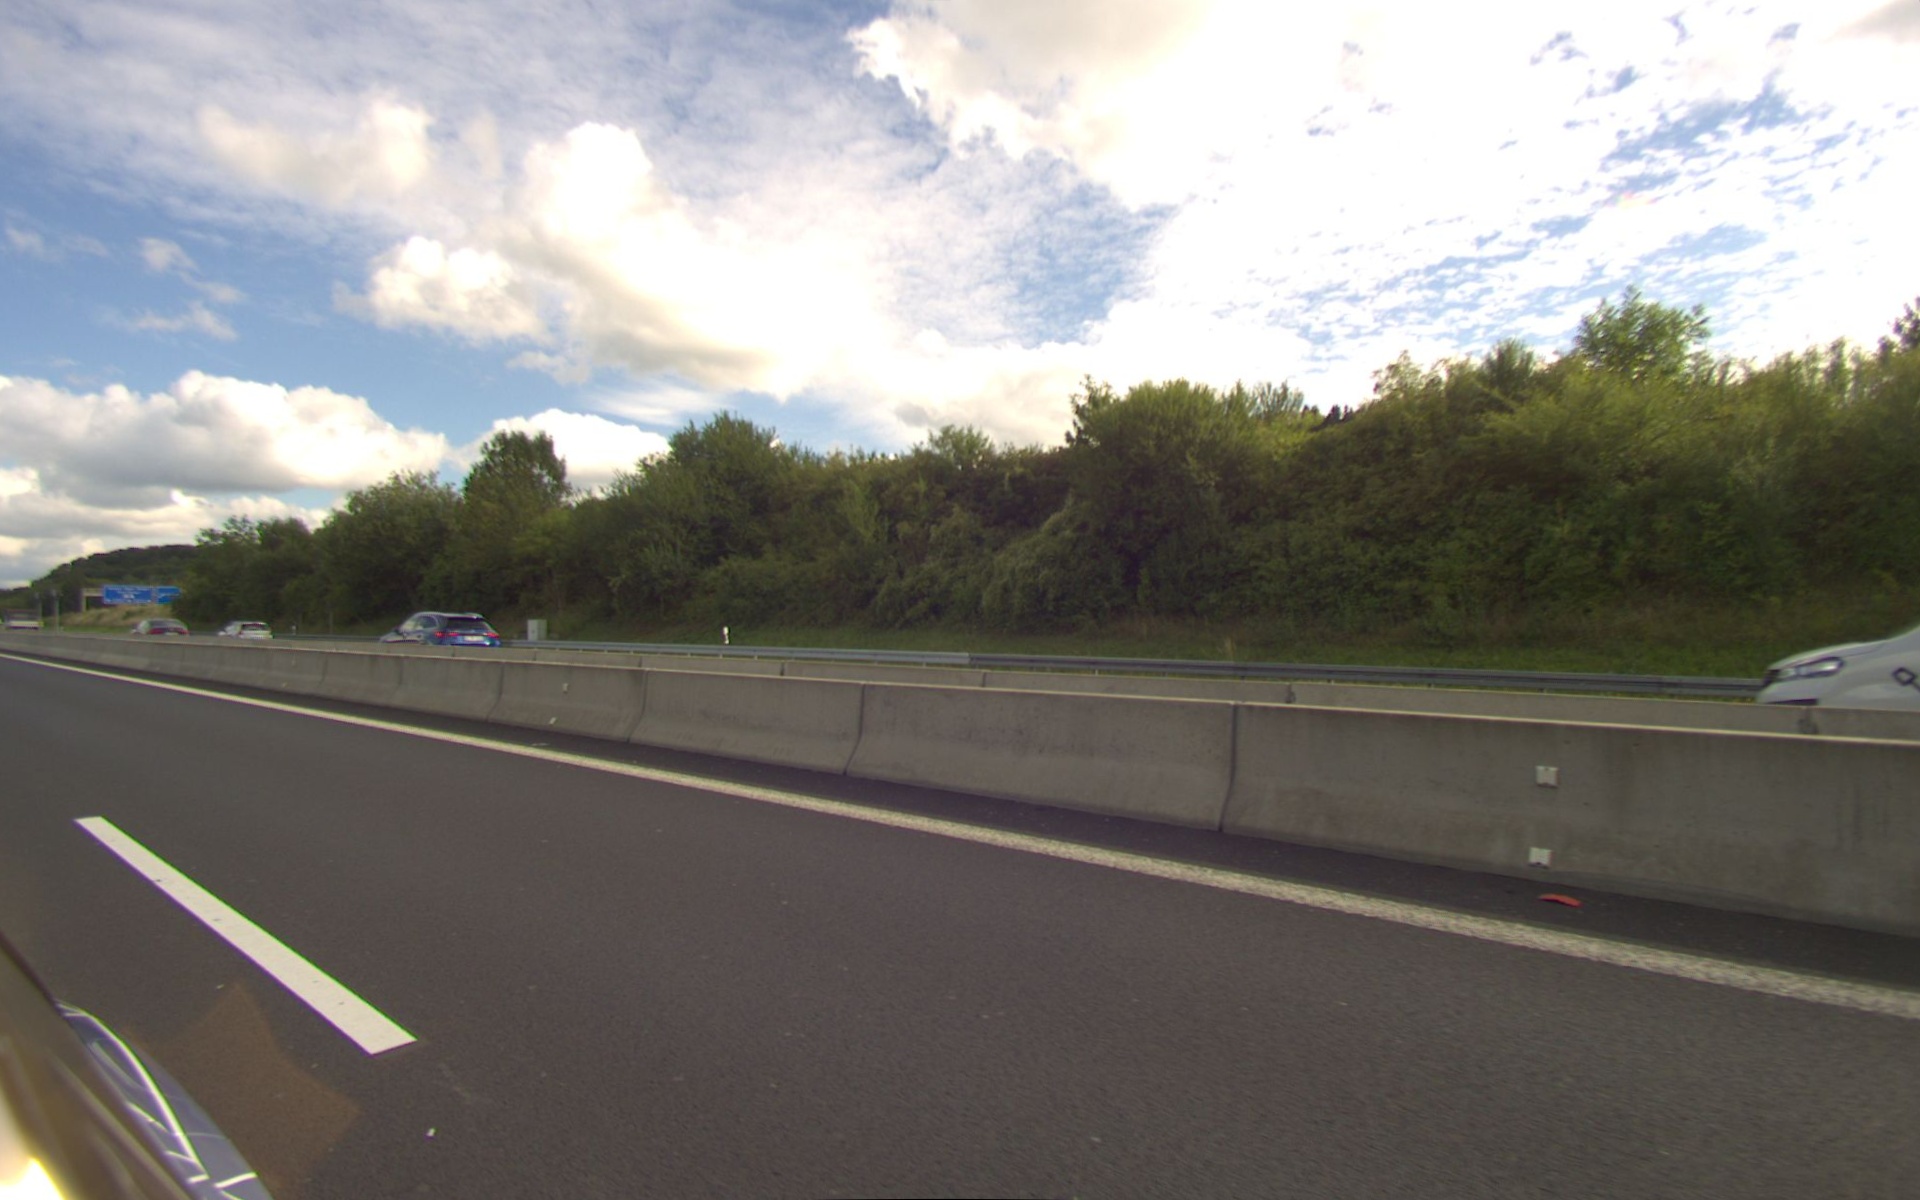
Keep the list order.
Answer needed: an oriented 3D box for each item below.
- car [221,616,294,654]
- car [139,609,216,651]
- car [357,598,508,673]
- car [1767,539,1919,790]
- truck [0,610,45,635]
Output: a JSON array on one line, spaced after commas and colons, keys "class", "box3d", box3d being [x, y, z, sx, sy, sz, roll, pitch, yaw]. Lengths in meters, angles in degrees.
[{"class": "car", "box3d": [-36.643, 1.805, 52.775, 4.820, 1.911, 1.973, -1, -3, 41]}, {"class": "car", "box3d": [-37.632, 1.441, 48.619, 4.820, 1.911, 1.973, -1, -3, 41]}, {"class": "car", "box3d": [-14.809, 0.986, 28.284, 5.138, 1.911, 1.973, -1, -3, 41]}, {"class": "car", "box3d": [9.229, 0.501, 7.350, 5.186, 1.911, 1.973, -1, -3, 41]}, {"class": "truck", "box3d": [-79.545, 1.947, 85.607, 7.433, 2.029, 2.351, -1, -3, 41]}]
